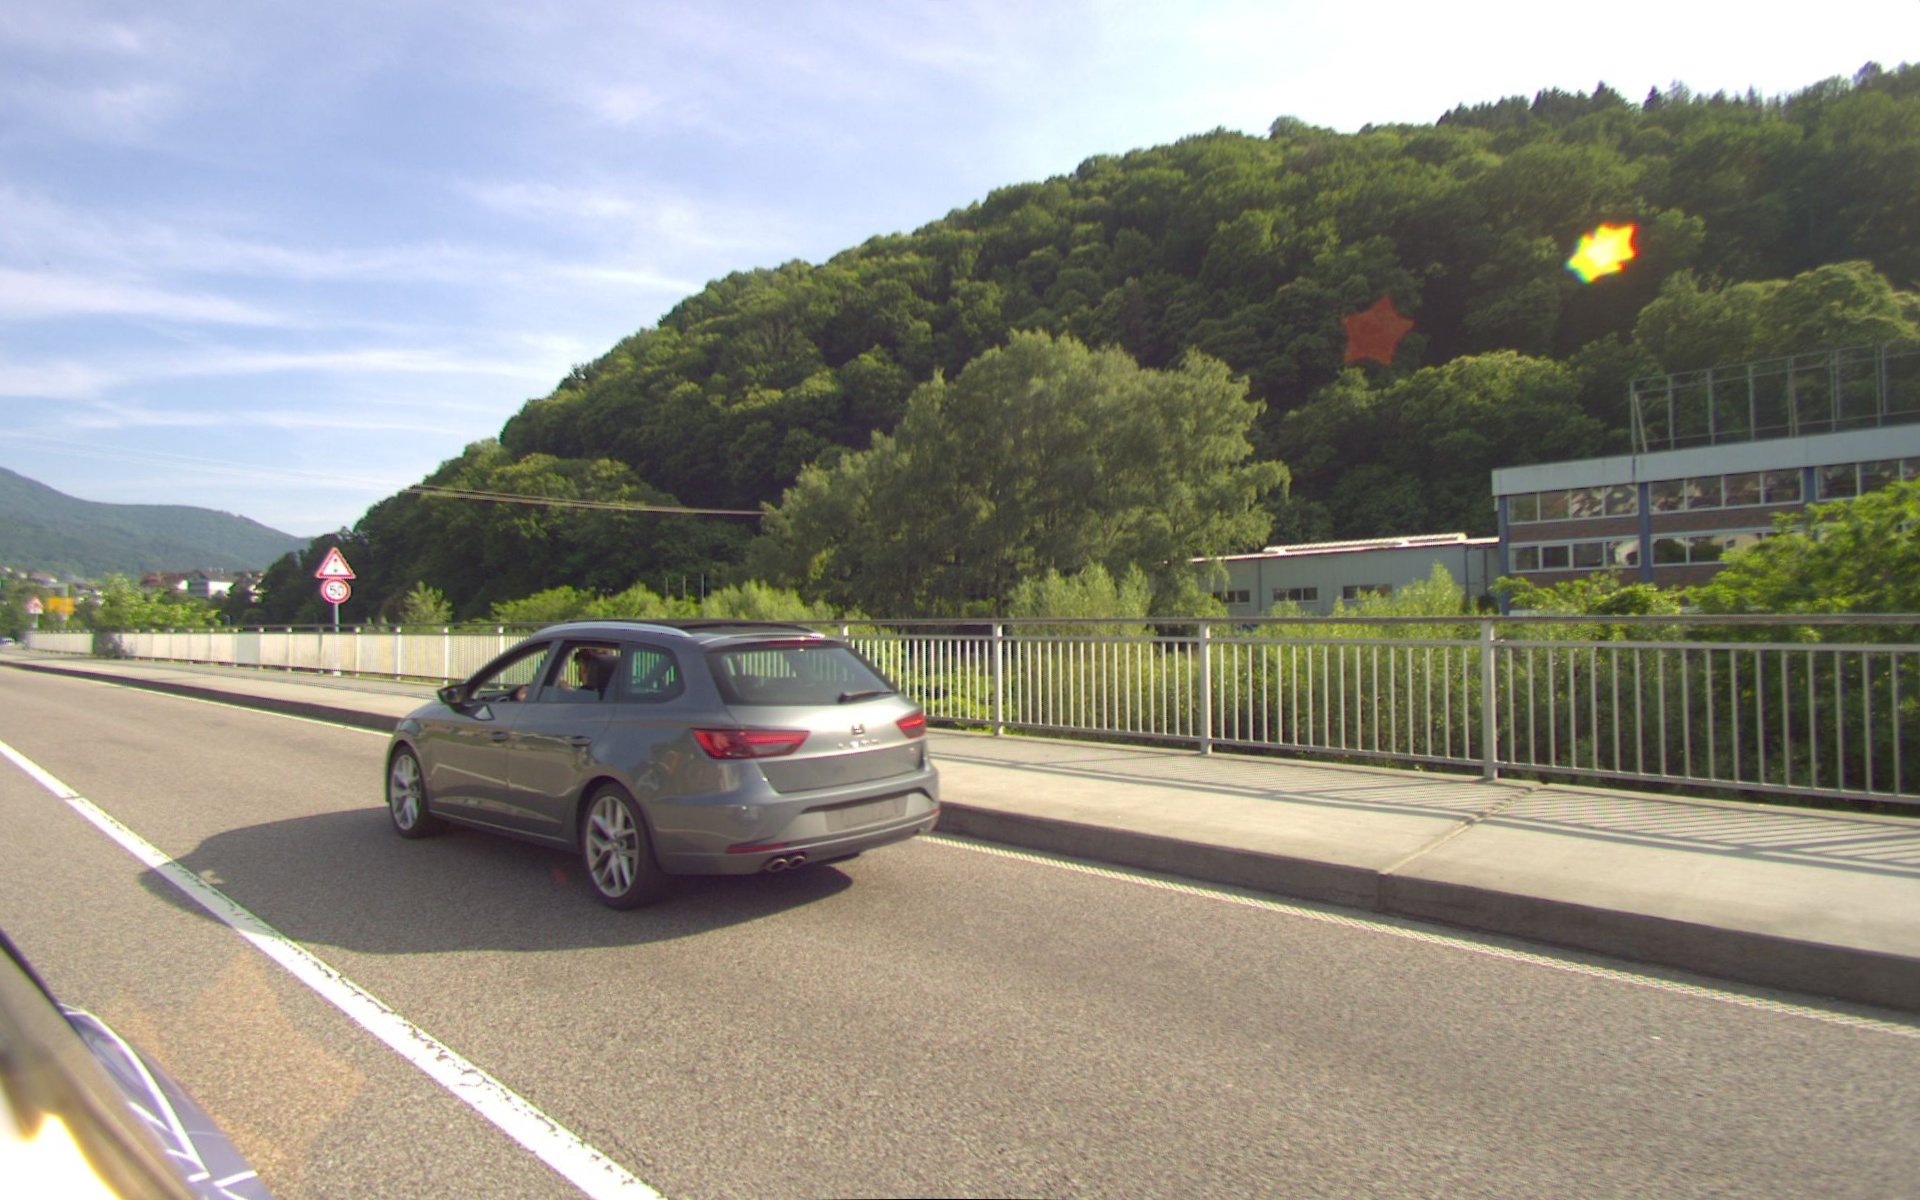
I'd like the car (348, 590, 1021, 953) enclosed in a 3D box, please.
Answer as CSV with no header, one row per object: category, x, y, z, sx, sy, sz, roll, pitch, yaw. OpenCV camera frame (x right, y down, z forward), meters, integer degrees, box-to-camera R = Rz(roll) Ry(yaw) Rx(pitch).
car,-2.054,0.787,6.451,4.795,1.495,1.794,-2,-3,41
